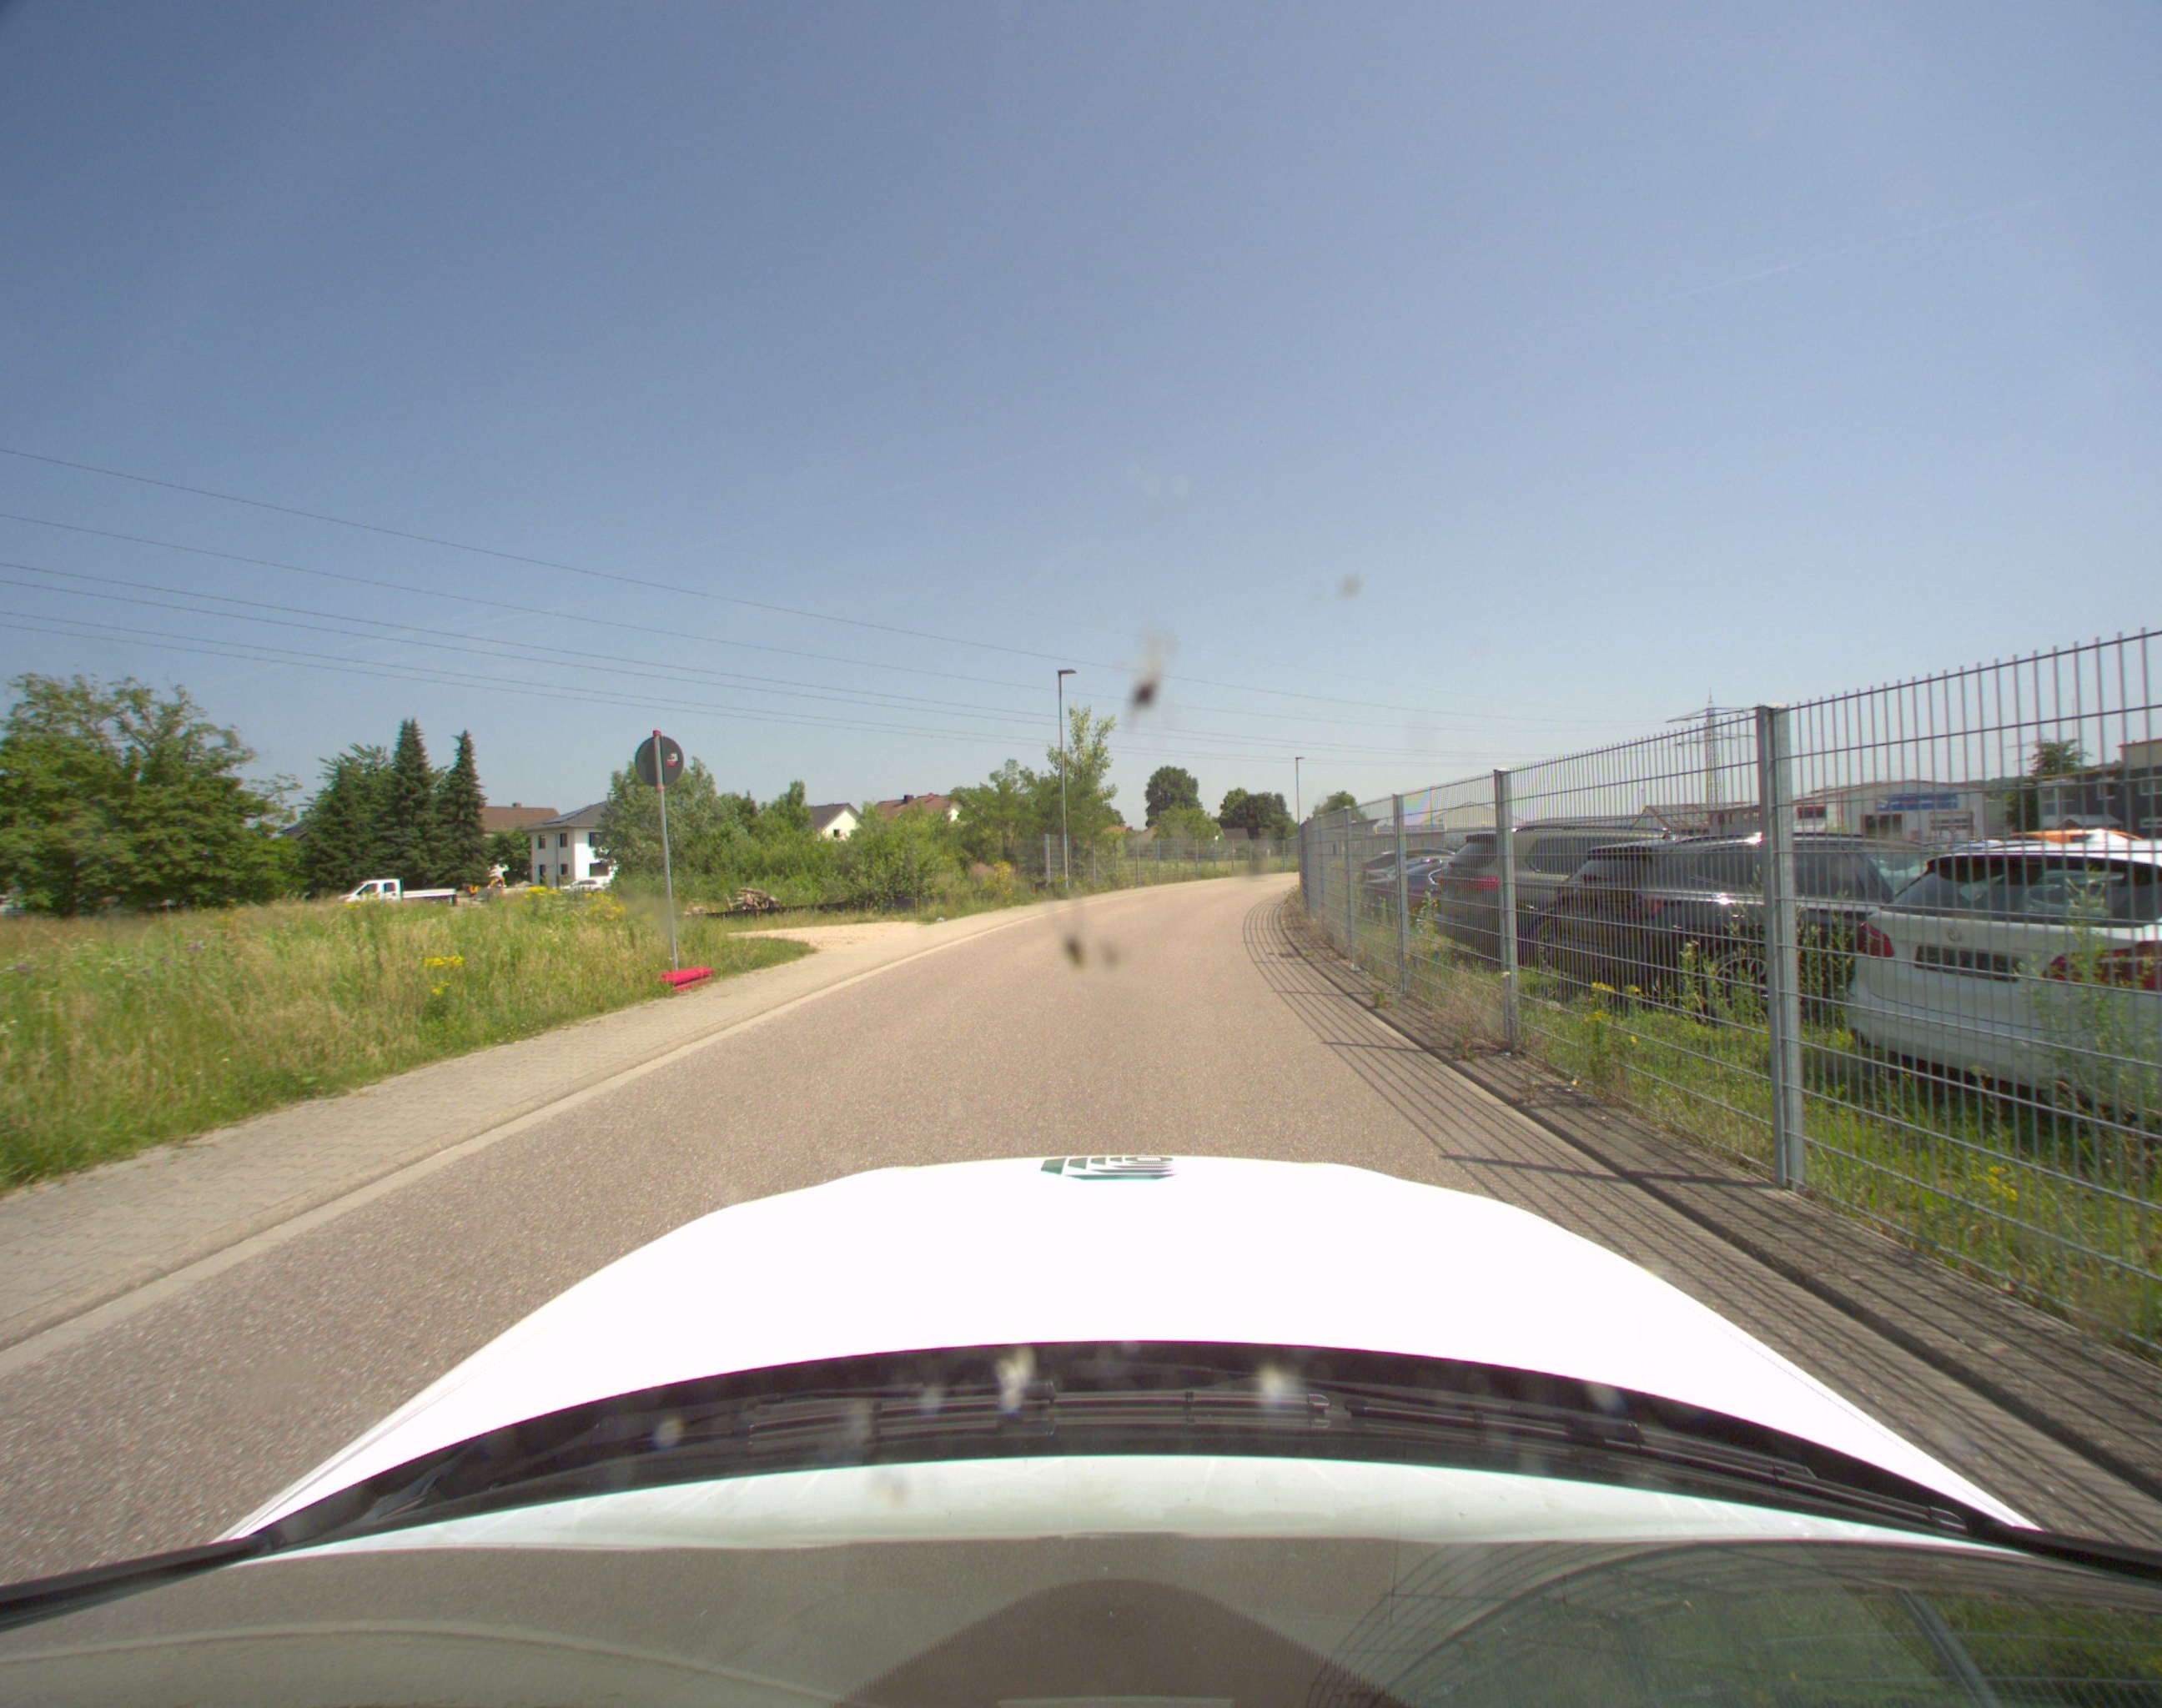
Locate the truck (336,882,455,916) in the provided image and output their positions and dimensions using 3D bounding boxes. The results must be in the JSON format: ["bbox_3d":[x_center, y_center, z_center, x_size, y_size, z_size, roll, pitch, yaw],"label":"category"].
[{"bbox_3d":[-47.007,3.021,55.996,2.093,2.010,5.928,-2,-1,39],"label":"truck"}]

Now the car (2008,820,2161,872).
[{"bbox_3d":[32.197,-0.251,25.536,3.783,1.461,1.597,-2,0,22],"label":"car"}]

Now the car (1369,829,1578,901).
[{"bbox_3d":[9.556,0.278,20.184,4.431,1.582,1.805,-2,0,21],"label":"car"}]

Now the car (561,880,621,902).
[{"bbox_3d":[-44.034,3.304,73.201,4.280,1.694,1.975,-2,0,-44],"label":"car"}]

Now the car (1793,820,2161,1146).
[{"bbox_3d":[6.156,0.520,4.228,3.448,1.417,1.519,-2,0,5],"label":"car"}]

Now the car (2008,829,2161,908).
[{"bbox_3d":[20.511,0.205,14.670,4.703,1.352,1.831,-2,0,22],"label":"car"}]

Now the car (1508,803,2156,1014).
[{"bbox_3d":[6.597,0.471,7.593,4.274,1.603,1.695,-2,0,5],"label":"car"}]

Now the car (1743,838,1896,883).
[{"bbox_3d":[26.398,0.240,29.255,3.728,1.437,1.620,-2,0,22],"label":"car"}]

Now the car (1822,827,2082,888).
[{"bbox_3d":[23.375,0.105,22.102,4.521,1.432,1.671,-2,0,22],"label":"car"}]

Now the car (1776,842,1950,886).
[{"bbox_3d":[25.418,0.323,26.633,3.728,1.301,1.620,-2,0,22],"label":"car"}]

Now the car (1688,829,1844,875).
[{"bbox_3d":[27.212,-0.063,32.573,4.420,1.649,1.889,-2,0,26],"label":"car"}]

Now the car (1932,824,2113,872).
[{"bbox_3d":[32.562,-0.195,28.316,3.783,1.461,1.597,-2,0,22],"label":"car"}]

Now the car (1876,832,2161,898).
[{"bbox_3d":[22.398,0.262,19.322,4.703,1.352,1.831,-2,0,22],"label":"car"}]

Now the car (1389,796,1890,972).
[{"bbox_3d":[6.359,0.358,9.806,4.659,1.769,1.746,-2,0,8],"label":"car"}]

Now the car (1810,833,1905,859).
[{"bbox_3d":[60.978,-0.601,64.073,5.015,1.899,1.868,-1,-1,23],"label":"car"}]
